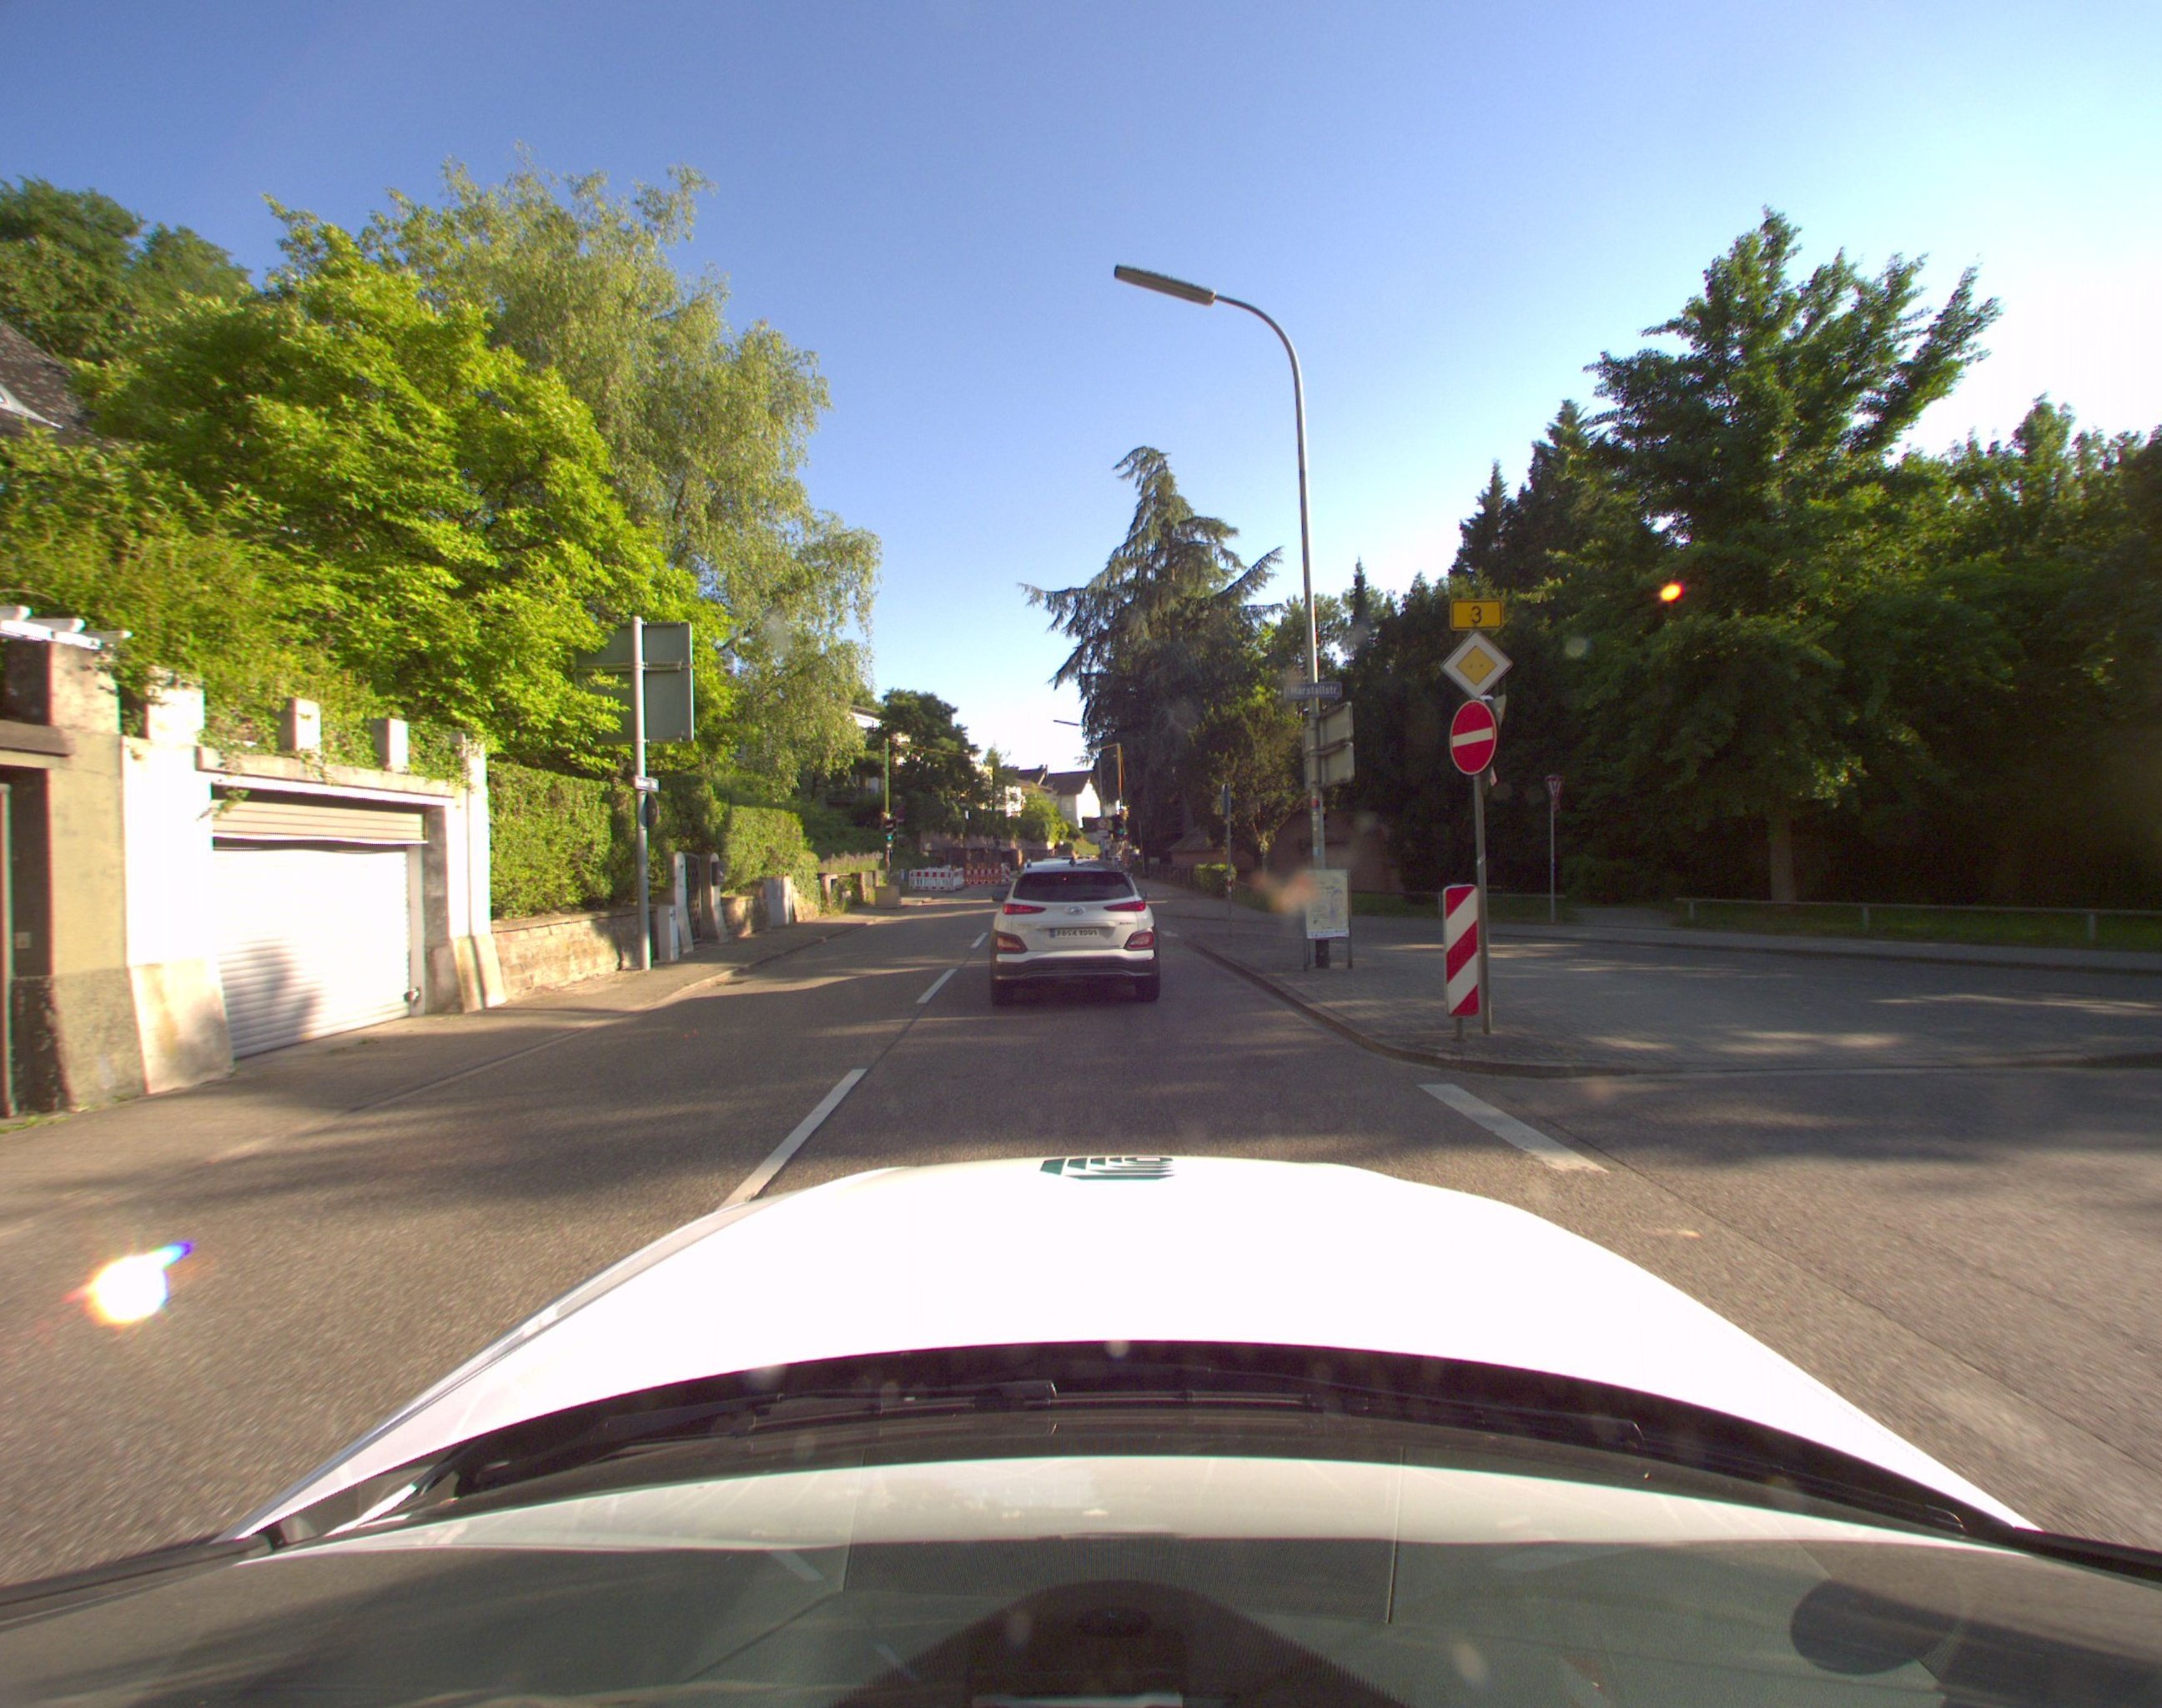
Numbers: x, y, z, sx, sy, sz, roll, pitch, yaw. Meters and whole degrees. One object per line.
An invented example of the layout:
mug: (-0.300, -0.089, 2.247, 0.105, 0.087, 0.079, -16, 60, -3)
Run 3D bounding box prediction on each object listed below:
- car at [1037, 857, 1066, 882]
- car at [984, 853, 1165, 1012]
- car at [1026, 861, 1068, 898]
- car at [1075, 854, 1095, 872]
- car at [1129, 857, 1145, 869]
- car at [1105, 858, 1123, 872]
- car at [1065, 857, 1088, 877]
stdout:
car: (-1.915, 0.983, 52.783, 1.801, 1.537, 3.997, 0, 0, -2)
car: (-0.143, 0.774, 10.124, 1.816, 1.574, 3.996, 0, 0, -3)
car: (-1.476, 1.056, 35.125, 1.704, 1.434, 4.360, 0, 0, -3)
car: (0.474, 0.913, 84.884, 1.824, 1.741, 4.004, -1, 0, 3)
car: (7.875, 1.283, 114.666, 1.820, 1.662, 4.011, 0, 0, 9)
car: (4.095, 1.367, 100.734, 1.821, 1.662, 4.010, 0, 0, 9)
car: (-0.358, 1.091, 69.770, 1.824, 1.662, 4.003, 0, 0, 3)
